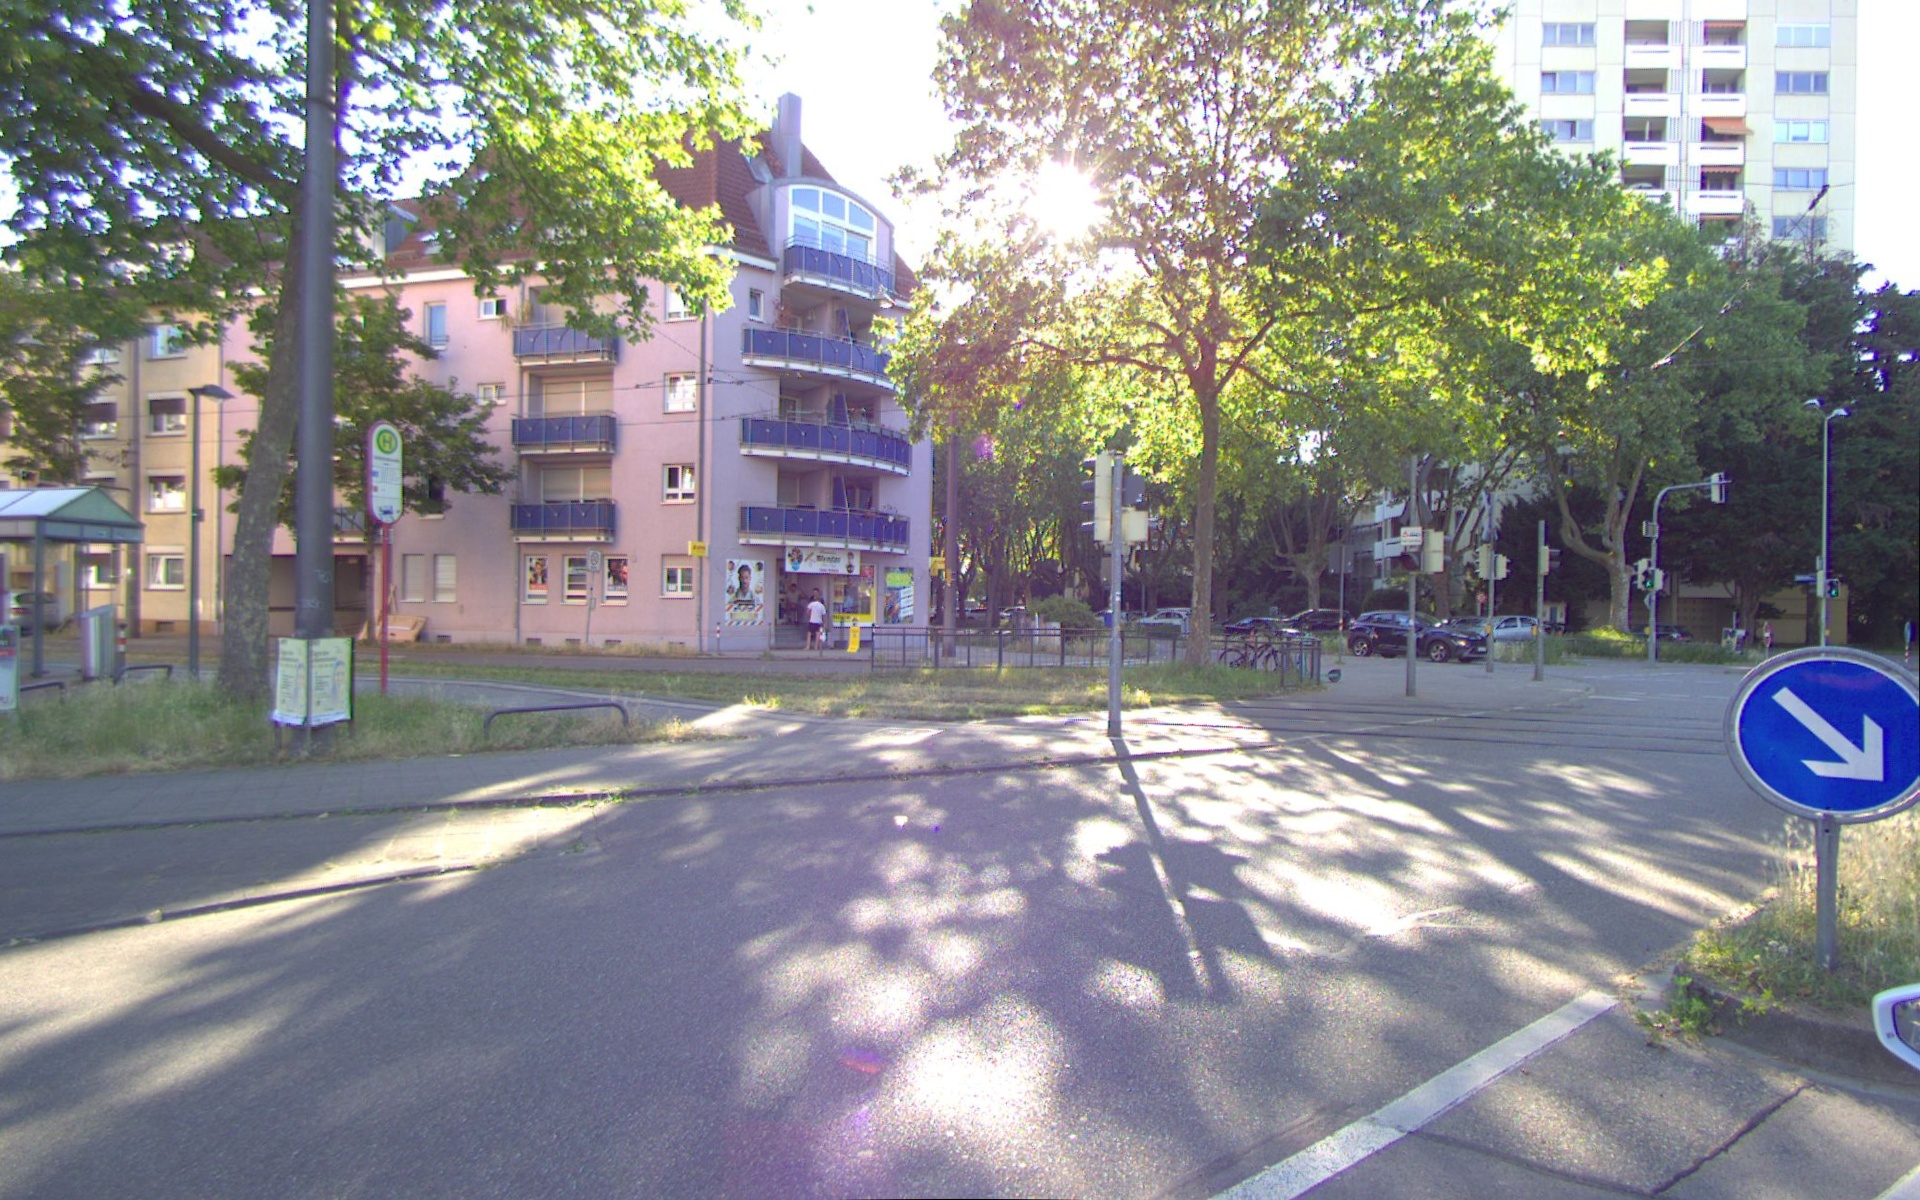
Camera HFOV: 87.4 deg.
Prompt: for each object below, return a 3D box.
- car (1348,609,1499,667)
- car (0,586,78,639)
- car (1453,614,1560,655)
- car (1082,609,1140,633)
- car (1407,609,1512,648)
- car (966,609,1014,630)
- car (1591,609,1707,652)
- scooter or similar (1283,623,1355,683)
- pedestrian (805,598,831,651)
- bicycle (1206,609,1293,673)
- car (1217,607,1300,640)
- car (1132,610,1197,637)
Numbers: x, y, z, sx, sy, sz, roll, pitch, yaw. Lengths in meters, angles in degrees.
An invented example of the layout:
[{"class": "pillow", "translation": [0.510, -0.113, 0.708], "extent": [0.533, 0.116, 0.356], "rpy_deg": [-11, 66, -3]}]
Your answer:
[{"class": "car", "translation": [14.450, 1.146, 31.472], "extent": [1.722, 1.617, 3.959], "rpy_deg": [2, 0, -36]}, {"class": "car", "translation": [-33.480, 0.401, 35.222], "extent": [4.029, 1.728, 1.940], "rpy_deg": [2, 0, 16]}, {"class": "car", "translation": [23.878, 1.496, 43.983], "extent": [3.732, 1.617, 1.738], "rpy_deg": [2, 0, 0]}, {"class": "car", "translation": [11.084, 1.531, 73.899], "extent": [3.921, 1.617, 1.738], "rpy_deg": [2, 0, 0]}, {"class": "car", "translation": [22.840, 1.303, 46.034], "extent": [3.921, 1.617, 1.738], "rpy_deg": [2, 0, 0]}, {"class": "car", "translation": [2.609, 1.679, 86.368], "extent": [3.919, 1.617, 1.739], "rpy_deg": [2, 0, 9]}, {"class": "car", "translation": [31.620, 1.362, 46.202], "extent": [1.971, 1.798, 3.979], "rpy_deg": [2, 0, -22]}, {"class": "scooter or similar", "translation": [7.920, 1.153, 22.206], "extent": [1.412, 1.255, 0.414], "rpy_deg": [2, 0, 9]}, {"class": "pedestrian", "translation": [-4.611, 0.793, 32.618], "extent": [0.610, 1.689, 0.549], "rpy_deg": [2, 0, 38]}, {"class": "bicycle", "translation": [6.398, 0.895, 22.247], "extent": [1.811, 1.324, 0.382], "rpy_deg": [2, 0, 34]}, {"class": "car", "translation": [15.912, 1.246, 53.683], "extent": [3.921, 1.617, 1.738], "rpy_deg": [2, 0, 0]}, {"class": "car", "translation": [13.402, 1.559, 65.985], "extent": [3.921, 1.617, 1.738], "rpy_deg": [2, 0, 0]}]
